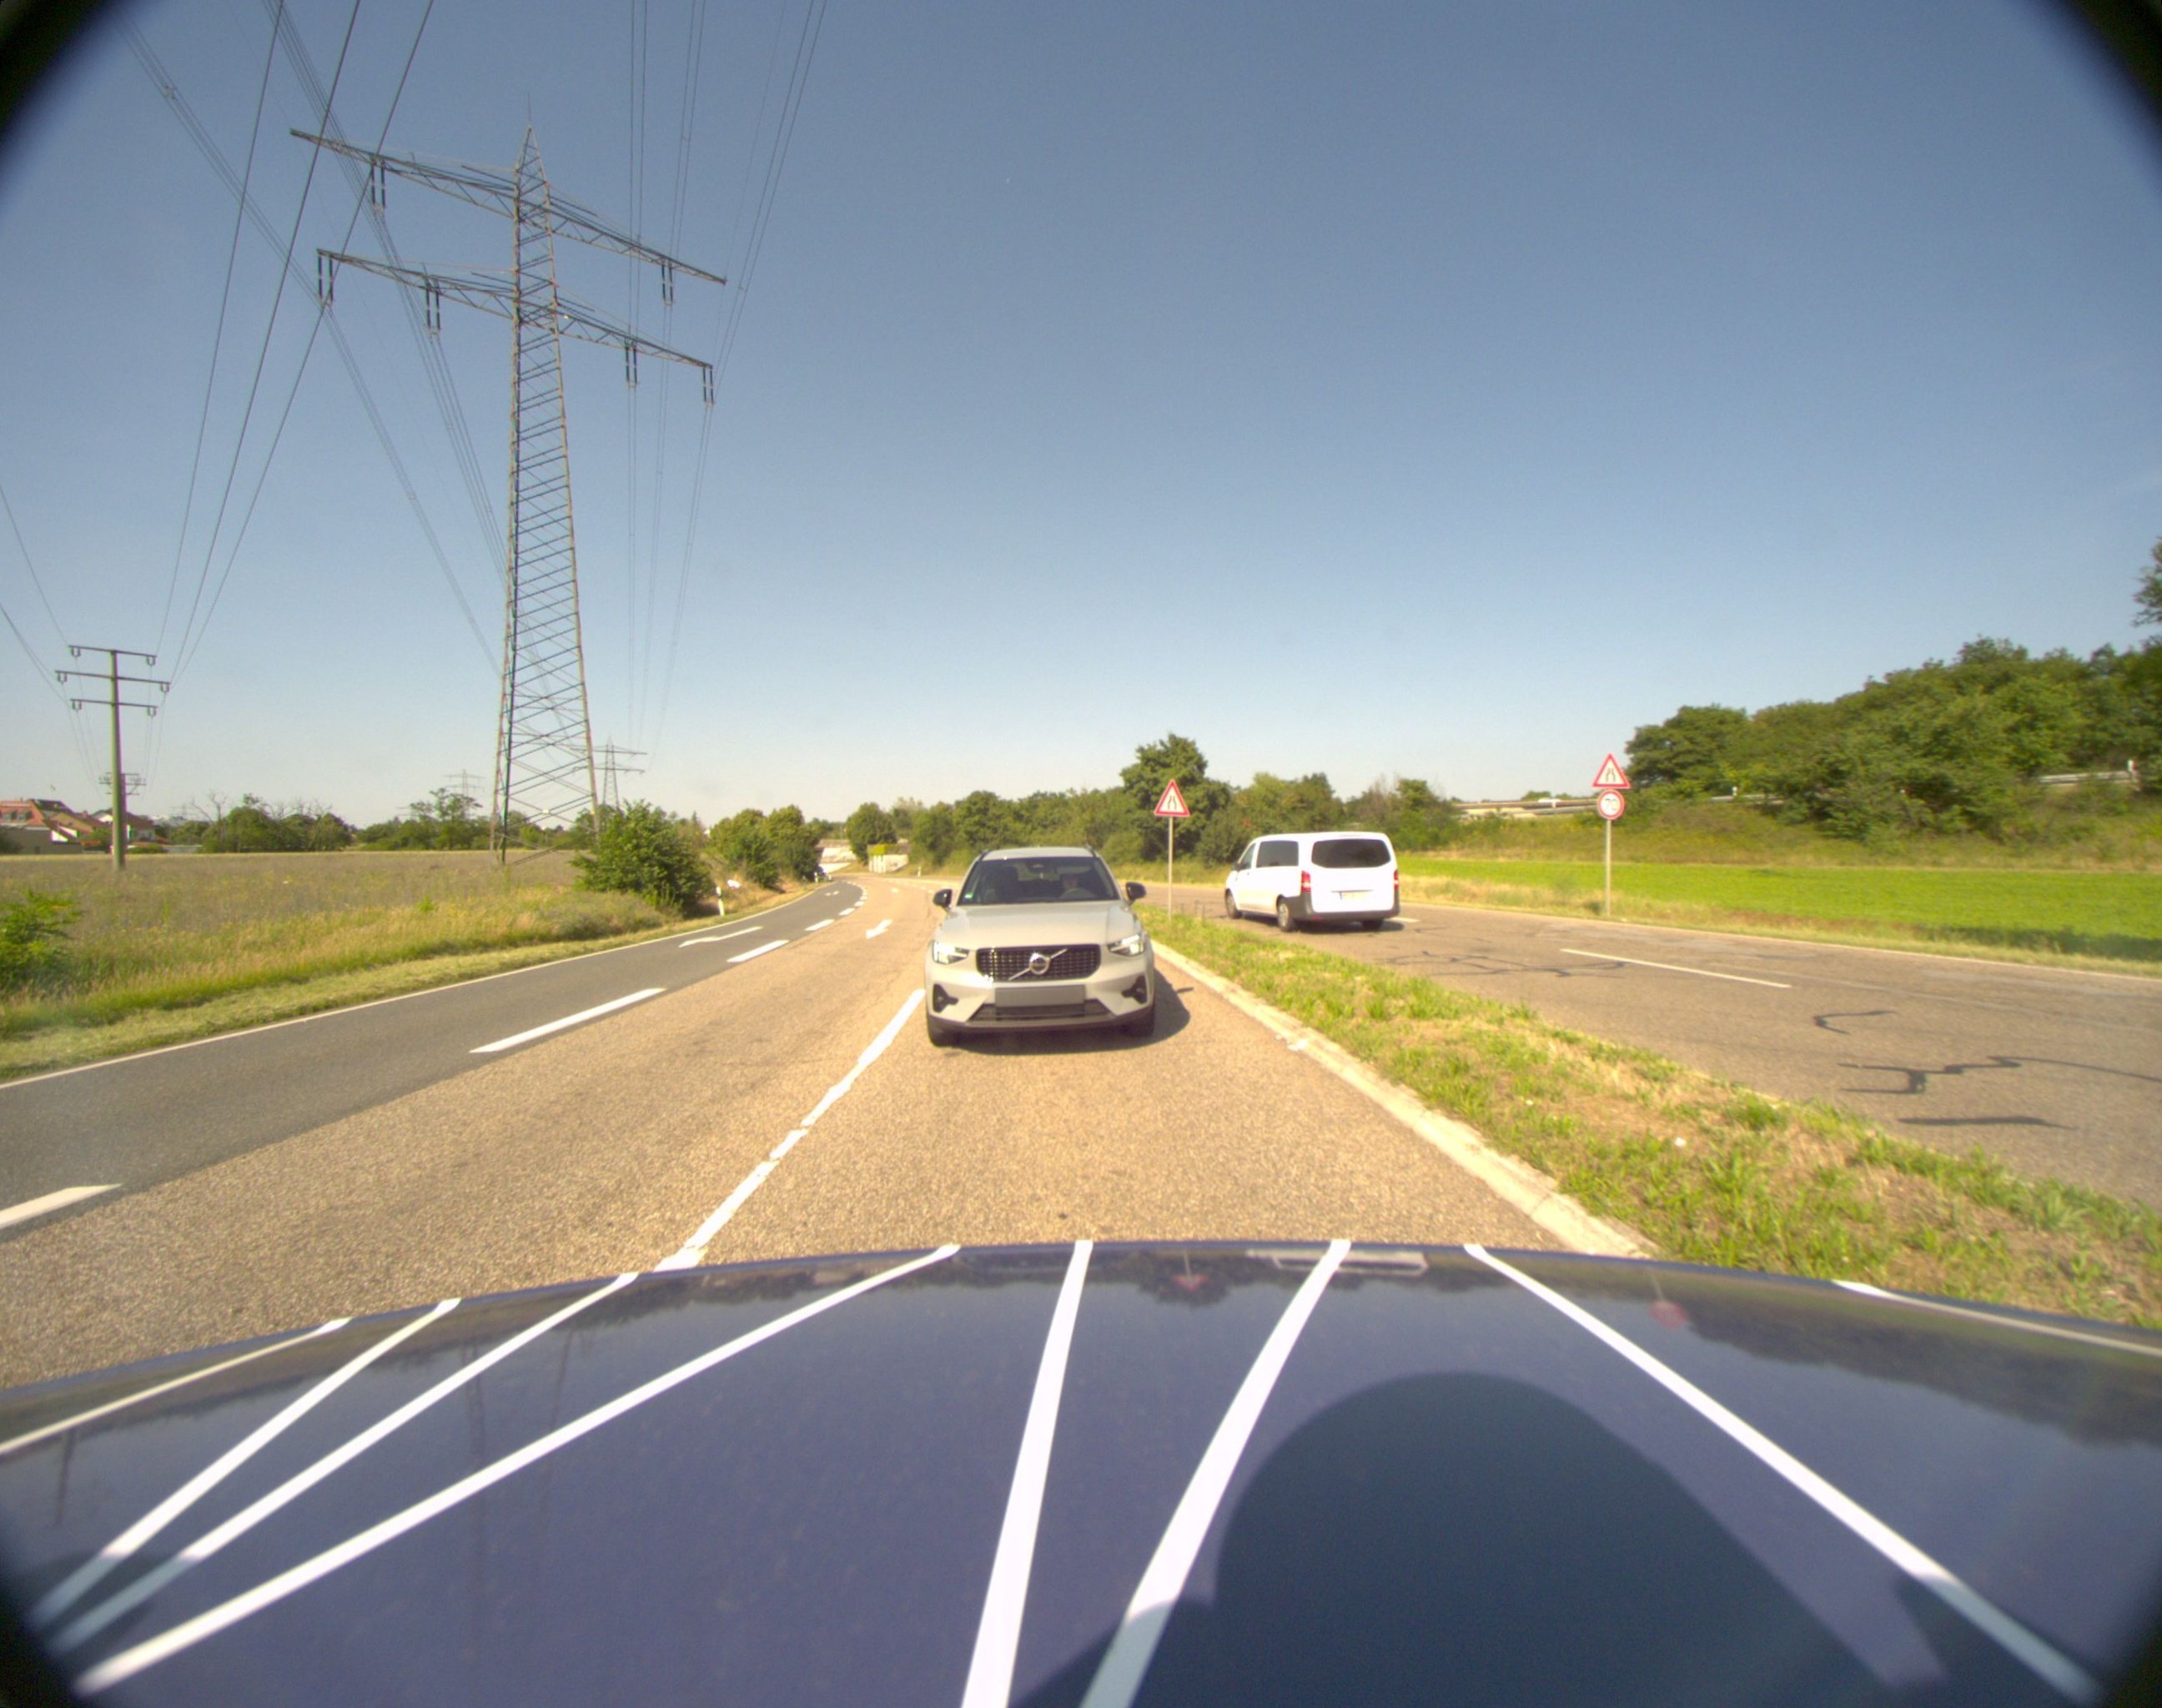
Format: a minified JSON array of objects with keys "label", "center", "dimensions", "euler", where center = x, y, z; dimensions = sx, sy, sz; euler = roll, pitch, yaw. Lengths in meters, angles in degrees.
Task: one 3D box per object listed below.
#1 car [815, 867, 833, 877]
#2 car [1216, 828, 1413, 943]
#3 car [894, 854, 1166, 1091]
[{"label":"car","center":[-37.318,2.586,110.178],"dimensions":[1.901,1.344,3.527],"euler":[-3,1,-27]},{"label":"car","center":[4.471,0.554,15.549],"dimensions":[2.000,1.907,4.945],"euler":[-2,0,-6]},{"label":"car","center":[-0.335,0.840,7.165],"dimensions":[1.859,1.609,3.647],"euler":[-2,0,1]}]
